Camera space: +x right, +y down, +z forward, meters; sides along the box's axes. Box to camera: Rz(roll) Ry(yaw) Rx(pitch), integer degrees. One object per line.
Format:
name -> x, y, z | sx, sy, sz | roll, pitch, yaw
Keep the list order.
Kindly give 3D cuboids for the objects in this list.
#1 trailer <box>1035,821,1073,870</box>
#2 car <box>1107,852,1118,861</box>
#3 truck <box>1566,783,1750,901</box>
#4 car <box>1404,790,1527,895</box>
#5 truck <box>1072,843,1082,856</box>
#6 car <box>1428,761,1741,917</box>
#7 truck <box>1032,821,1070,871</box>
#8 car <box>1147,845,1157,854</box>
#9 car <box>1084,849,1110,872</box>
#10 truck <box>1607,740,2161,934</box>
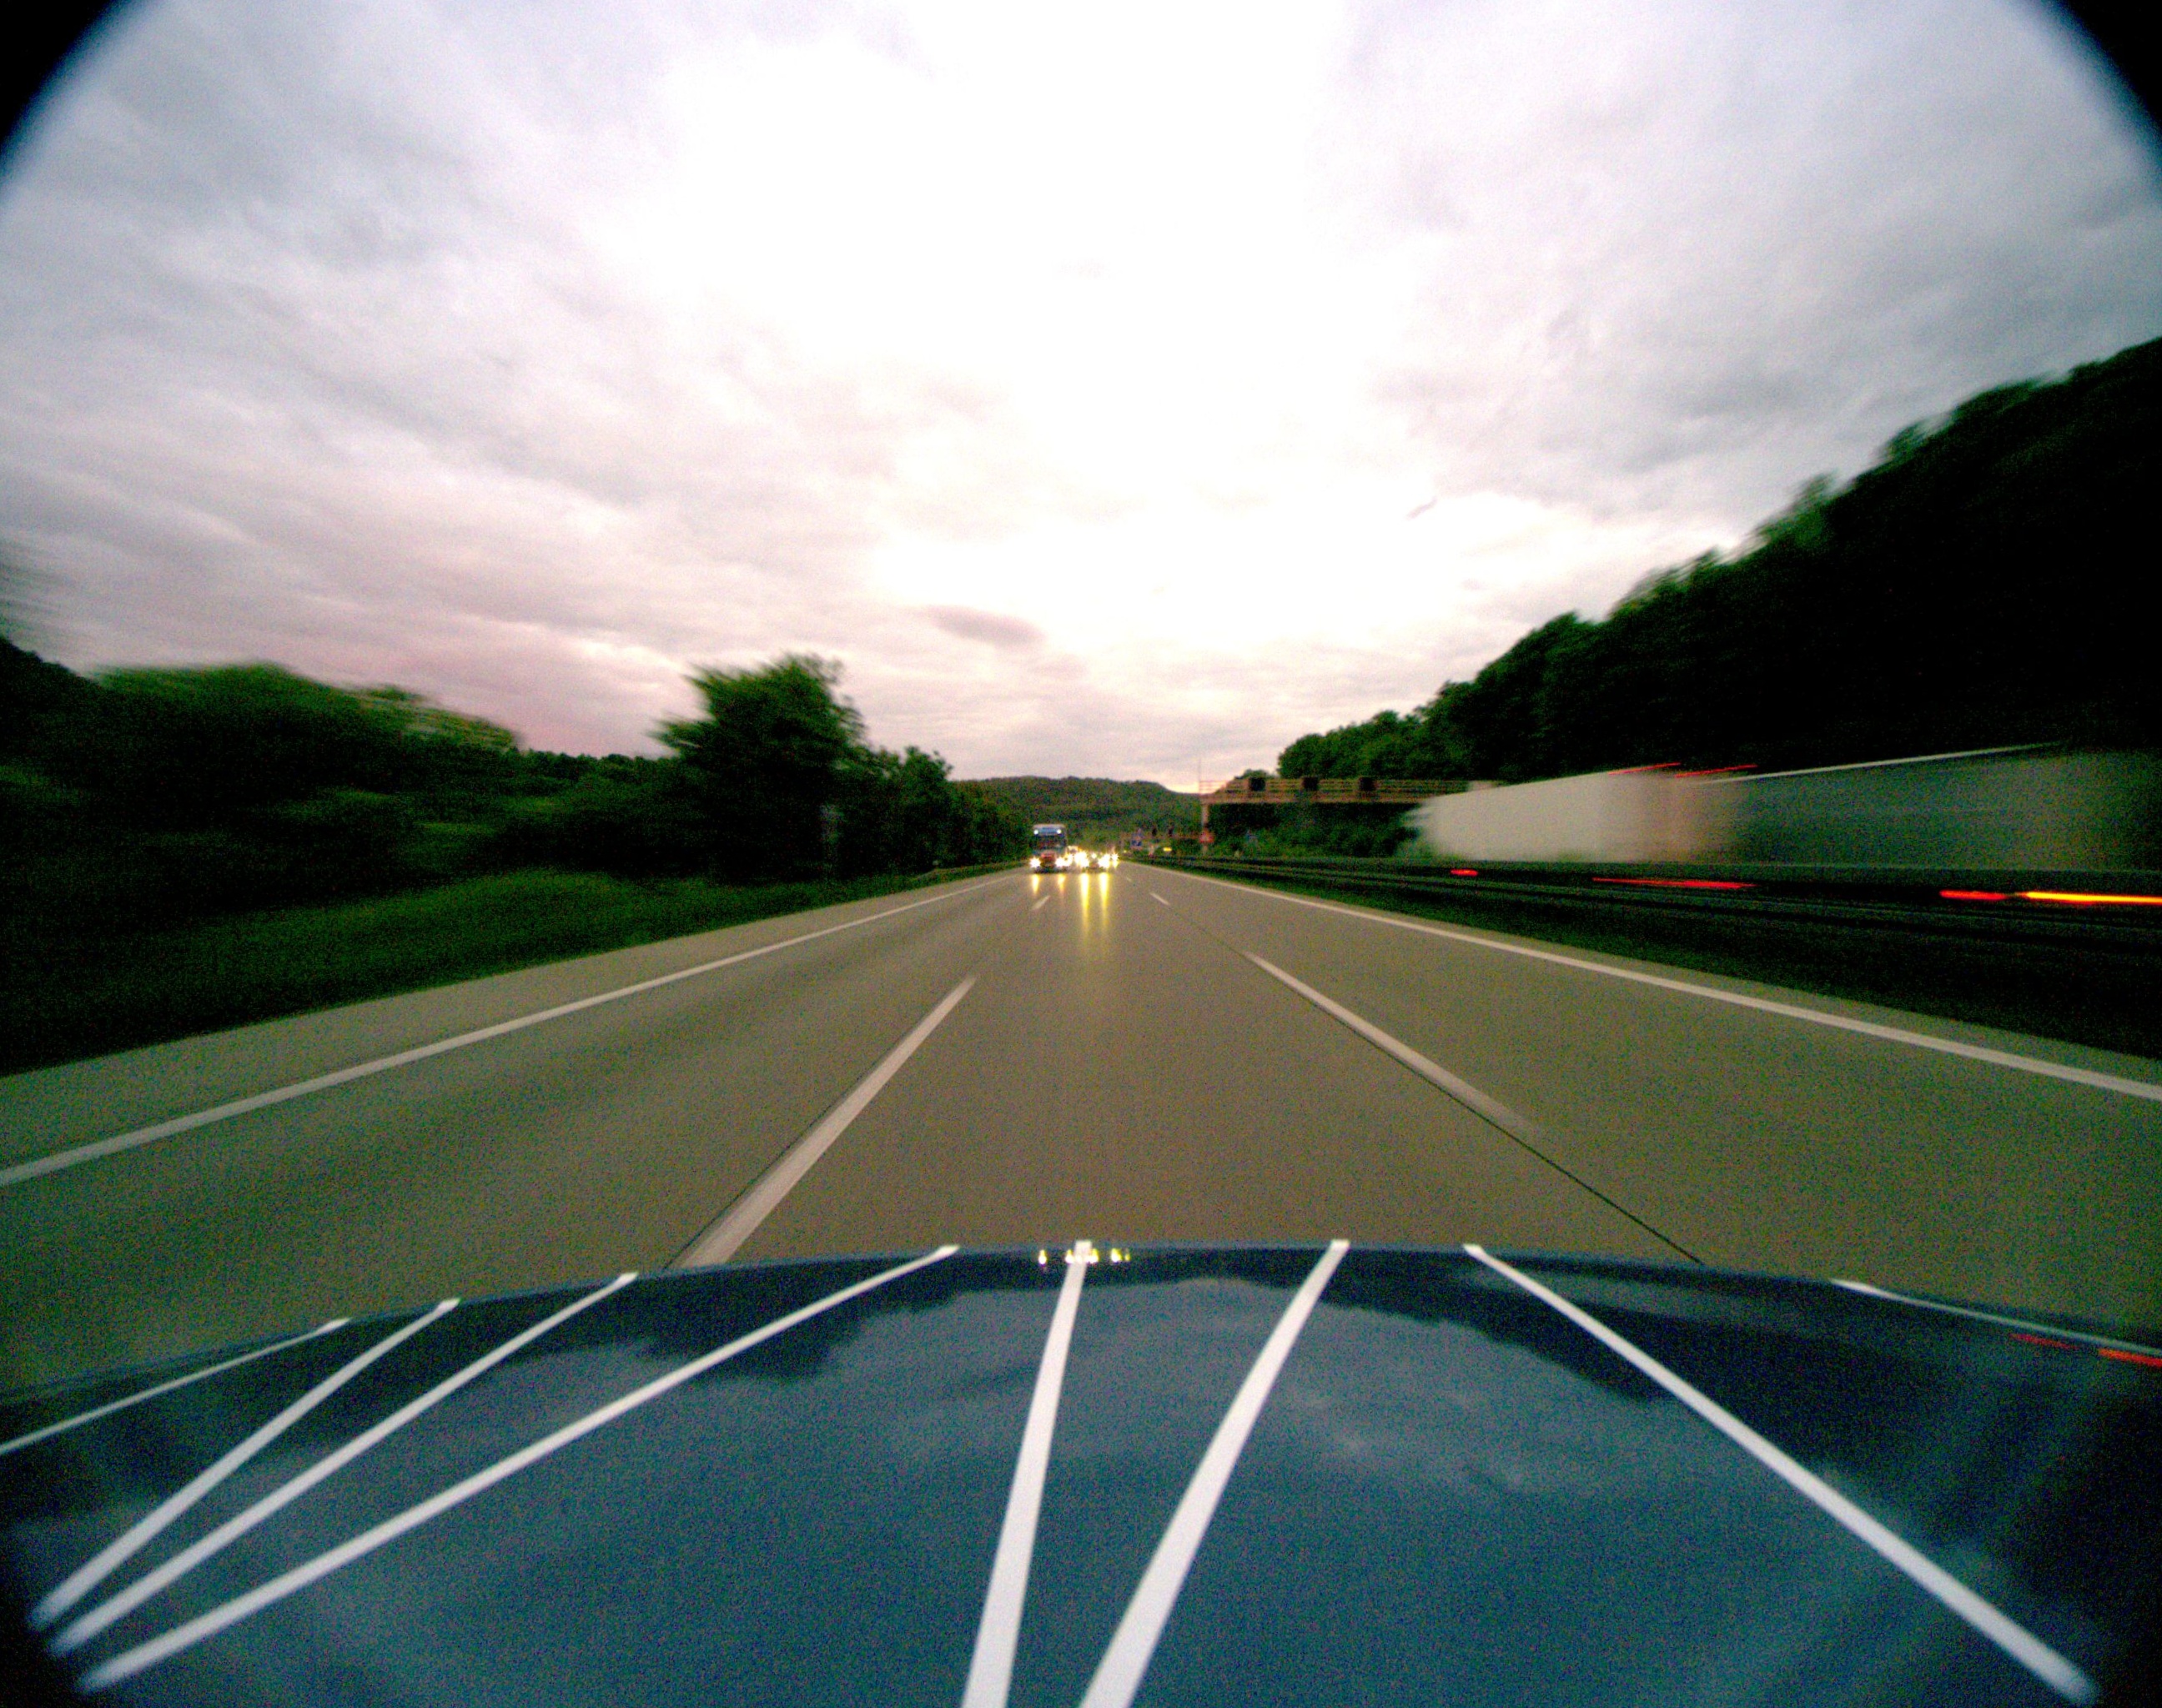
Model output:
trailer -> -2.372, -0.773, 71.020 | 2.778, 4.062, 13.738 | -2, 0, 1
car -> 5.877, 0.435, 143.282 | 1.898, 1.503, 4.000 | -1, 0, 1
truck -> 22.368, -0.443, 29.940 | 2.864, 4.186, 5.864 | -1, 1, 1
car -> 17.797, -0.499, 35.651 | 2.805, 4.461, 5.929 | -1, 1, 0
truck -> -1.138, -1.403, 222.587 | 2.623, 3.805, 10.385 | -1, 0, 0
car -> 17.757, -0.473, 28.934 | 2.805, 4.461, 13.910 | -1, 0, 1
truck -> -2.473, -0.682, 64.123 | 2.743, 3.973, 5.849 | -2, 1, 1
car -> 19.747, -1.259, 210.880 | 2.143, 2.345, 6.719 | -1, 0, 1
car -> 1.294, 0.454, 59.090 | 1.927, 1.674, 4.807 | 0, 1, 2
truck -> 22.235, -0.418, 23.405 | 2.902, 4.186, 13.600 | -1, 0, 1
